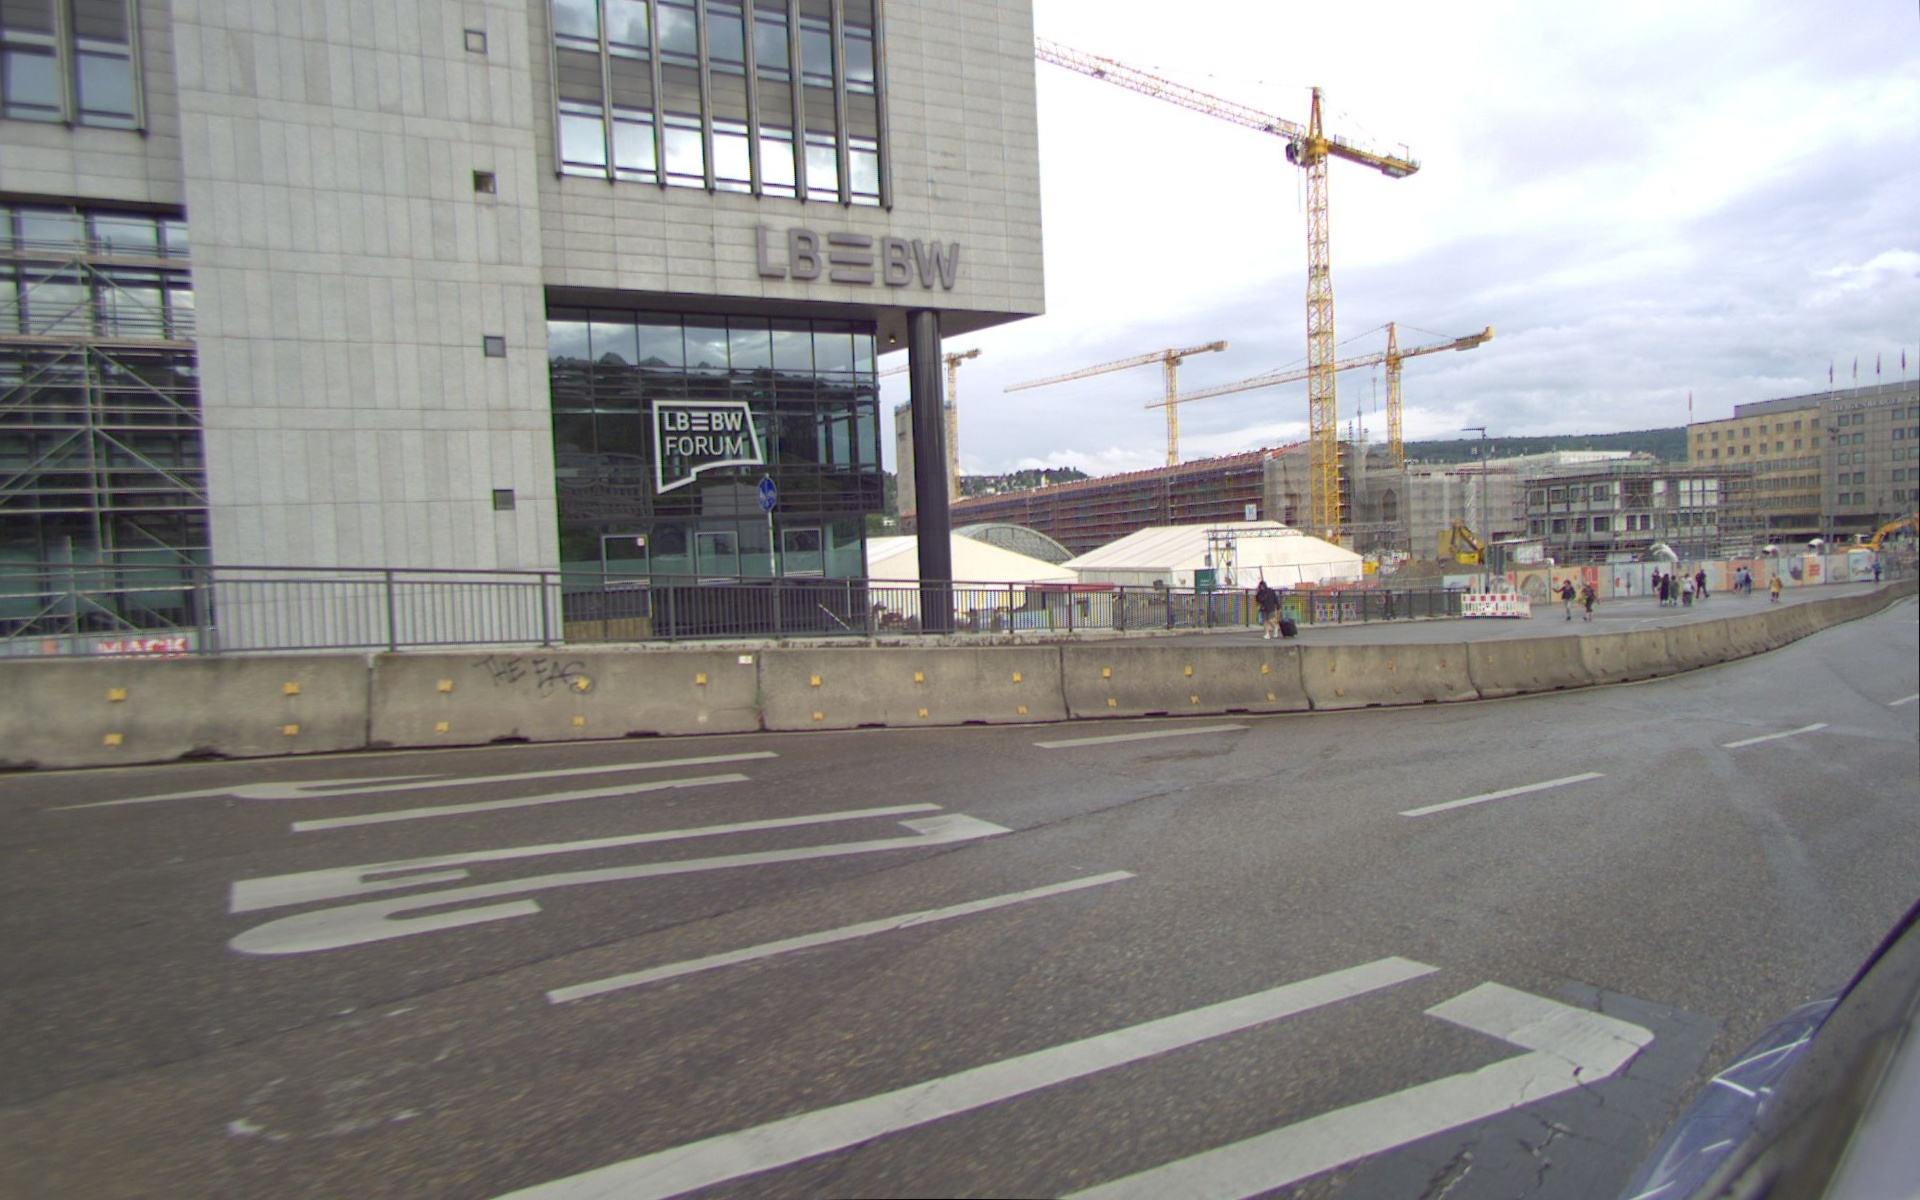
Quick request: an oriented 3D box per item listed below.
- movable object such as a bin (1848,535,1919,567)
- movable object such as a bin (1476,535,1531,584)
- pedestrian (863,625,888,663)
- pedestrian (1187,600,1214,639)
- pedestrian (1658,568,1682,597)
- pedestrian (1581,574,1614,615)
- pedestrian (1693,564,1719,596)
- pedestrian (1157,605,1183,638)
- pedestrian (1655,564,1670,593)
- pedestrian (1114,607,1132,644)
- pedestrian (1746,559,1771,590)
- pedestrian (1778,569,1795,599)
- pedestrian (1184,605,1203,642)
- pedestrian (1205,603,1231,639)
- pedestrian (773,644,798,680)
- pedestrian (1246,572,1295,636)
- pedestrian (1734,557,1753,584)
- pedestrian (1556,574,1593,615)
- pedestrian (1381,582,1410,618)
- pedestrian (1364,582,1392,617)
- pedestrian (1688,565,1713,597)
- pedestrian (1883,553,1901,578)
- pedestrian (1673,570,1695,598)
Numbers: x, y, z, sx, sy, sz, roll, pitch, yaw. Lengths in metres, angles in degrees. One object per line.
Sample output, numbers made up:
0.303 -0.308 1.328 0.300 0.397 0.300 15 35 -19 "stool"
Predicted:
78.450 -4.152 85.904 4.064 2.566 1.994 -1 2 12 "movable object such as a bin"
40.082 -2.968 74.593 4.153 3.450 1.943 -4 3 -37 "movable object such as a bin"
-3.939 2.040 47.151 0.987 1.657 0.871 -2 2 -15 "pedestrian"
11.532 0.924 48.508 0.987 1.805 0.775 -2 2 -15 "pedestrian"
39.839 -0.988 56.790 0.987 1.572 0.718 -3 2 -24 "pedestrian"
25.424 -0.236 40.369 0.788 1.594 0.736 -2 1 -16 "pedestrian"
44.640 -1.208 60.598 0.987 1.840 0.870 -3 2 -24 "pedestrian"
10.609 1.095 51.098 0.987 1.572 0.871 -2 2 -15 "pedestrian"
43.915 -1.335 63.282 0.485 1.769 0.569 -3 2 -25 "pedestrian"
7.504 1.178 46.509 0.554 1.635 0.708 -2 2 -11 "pedestrian"
49.455 -1.568 62.698 0.913 1.871 0.822 -2 2 -7 "pedestrian"
46.375 -0.917 56.793 0.893 1.652 0.647 -4 3 -43 "pedestrian"
10.817 1.091 46.876 0.739 1.657 0.587 -2 2 5 "pedestrian"
12.146 0.981 47.645 0.897 1.657 0.702 -2 2 -15 "pedestrian"
-8.593 3.023 49.827 0.989 1.657 0.869 -2 2 1 "pedestrian"
8.417 0.090 27.452 1.038 1.672 0.733 -1 1 -16 "pedestrian"
50.157 -1.886 64.783 0.750 1.675 0.650 -2 2 -7 "pedestrian"
24.905 -0.246 40.999 0.932 1.612 0.865 -2 2 -16 "pedestrian"
22.067 -0.007 51.303 0.987 1.746 0.871 -2 2 -15 "pedestrian"
21.653 -0.033 52.397 0.987 1.710 0.871 -2 2 -15 "pedestrian"
40.885 -1.051 55.859 0.873 1.743 0.781 -3 2 -24 "pedestrian"
65.611 -2.458 71.267 0.673 1.726 0.748 -3 4 -30 "pedestrian"
40.203 -0.889 56.214 0.867 1.541 0.612 -3 2 -24 "pedestrian"
